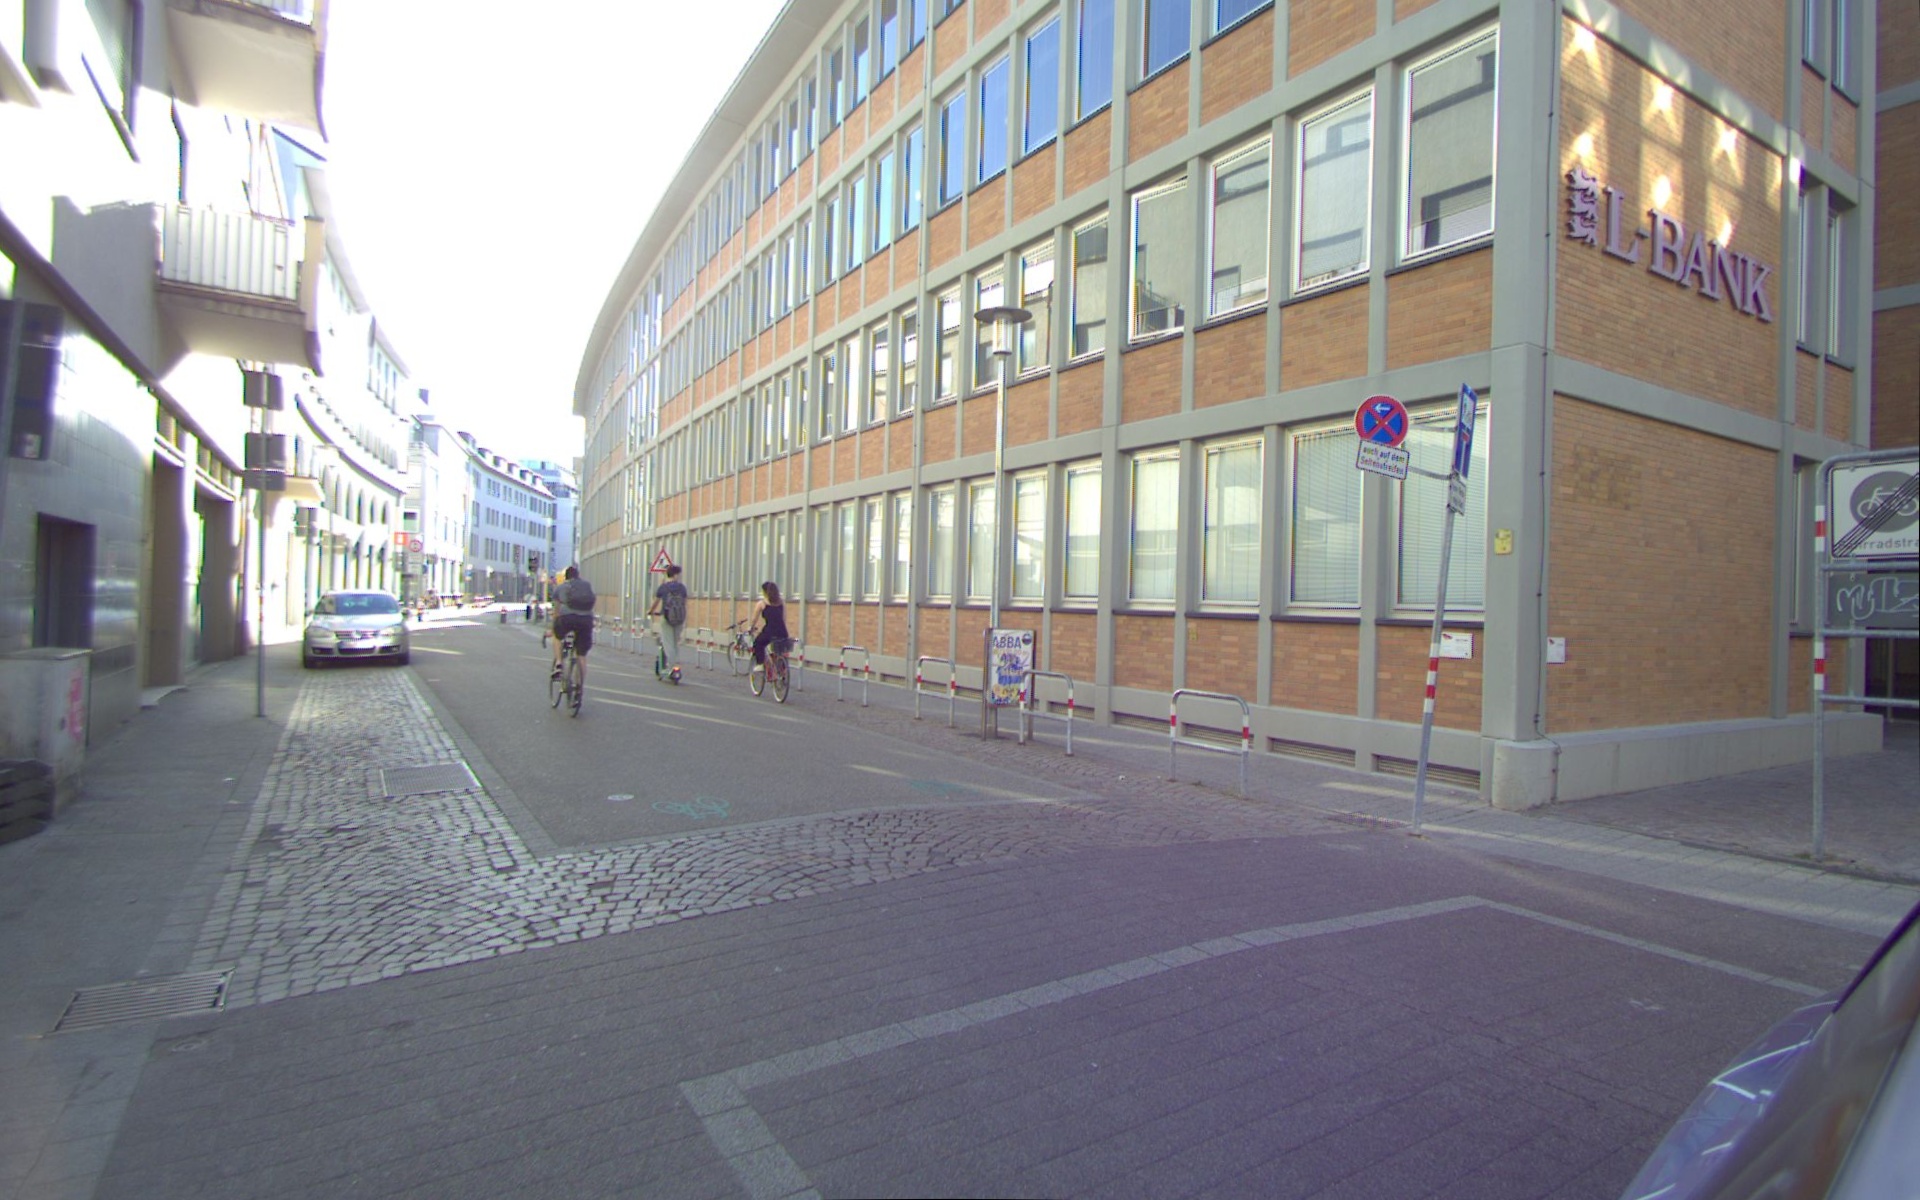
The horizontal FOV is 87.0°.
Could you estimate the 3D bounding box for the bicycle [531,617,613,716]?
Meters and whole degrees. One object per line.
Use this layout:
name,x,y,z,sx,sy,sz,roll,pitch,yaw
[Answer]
bicycle,-4.668,0.753,12.099,0.563,1.064,1.837,0,0,-32

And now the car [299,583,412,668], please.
car,-11.895,0.422,19.979,1.736,1.488,3.817,-1,1,-31

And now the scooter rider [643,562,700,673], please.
scooter rider,-4.688,0.266,16.445,0.636,1.748,0.702,2,0,-35

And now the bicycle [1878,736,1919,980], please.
bicycle,4.509,1.102,3.744,0.427,0.969,1.592,1,0,-31

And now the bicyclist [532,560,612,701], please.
bicyclist,-4.606,0.344,11.979,0.637,1.578,1.110,1,0,-33

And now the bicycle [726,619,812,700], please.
bicycle,-2.844,0.854,14.914,0.579,1.065,1.802,4,-2,-32

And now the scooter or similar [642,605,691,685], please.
scooter or similar,-4.769,0.709,16.425,0.330,1.201,1.280,4,-1,-33

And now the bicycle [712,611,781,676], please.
bicycle,-4.051,0.788,19.069,0.625,1.130,1.932,1,0,-32

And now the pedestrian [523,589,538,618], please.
pedestrian,-22.182,0.164,52.269,0.646,1.459,0.596,1,-1,-29

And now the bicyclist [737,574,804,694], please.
bicyclist,-2.789,0.491,14.863,0.608,1.688,0.824,4,-2,-32
